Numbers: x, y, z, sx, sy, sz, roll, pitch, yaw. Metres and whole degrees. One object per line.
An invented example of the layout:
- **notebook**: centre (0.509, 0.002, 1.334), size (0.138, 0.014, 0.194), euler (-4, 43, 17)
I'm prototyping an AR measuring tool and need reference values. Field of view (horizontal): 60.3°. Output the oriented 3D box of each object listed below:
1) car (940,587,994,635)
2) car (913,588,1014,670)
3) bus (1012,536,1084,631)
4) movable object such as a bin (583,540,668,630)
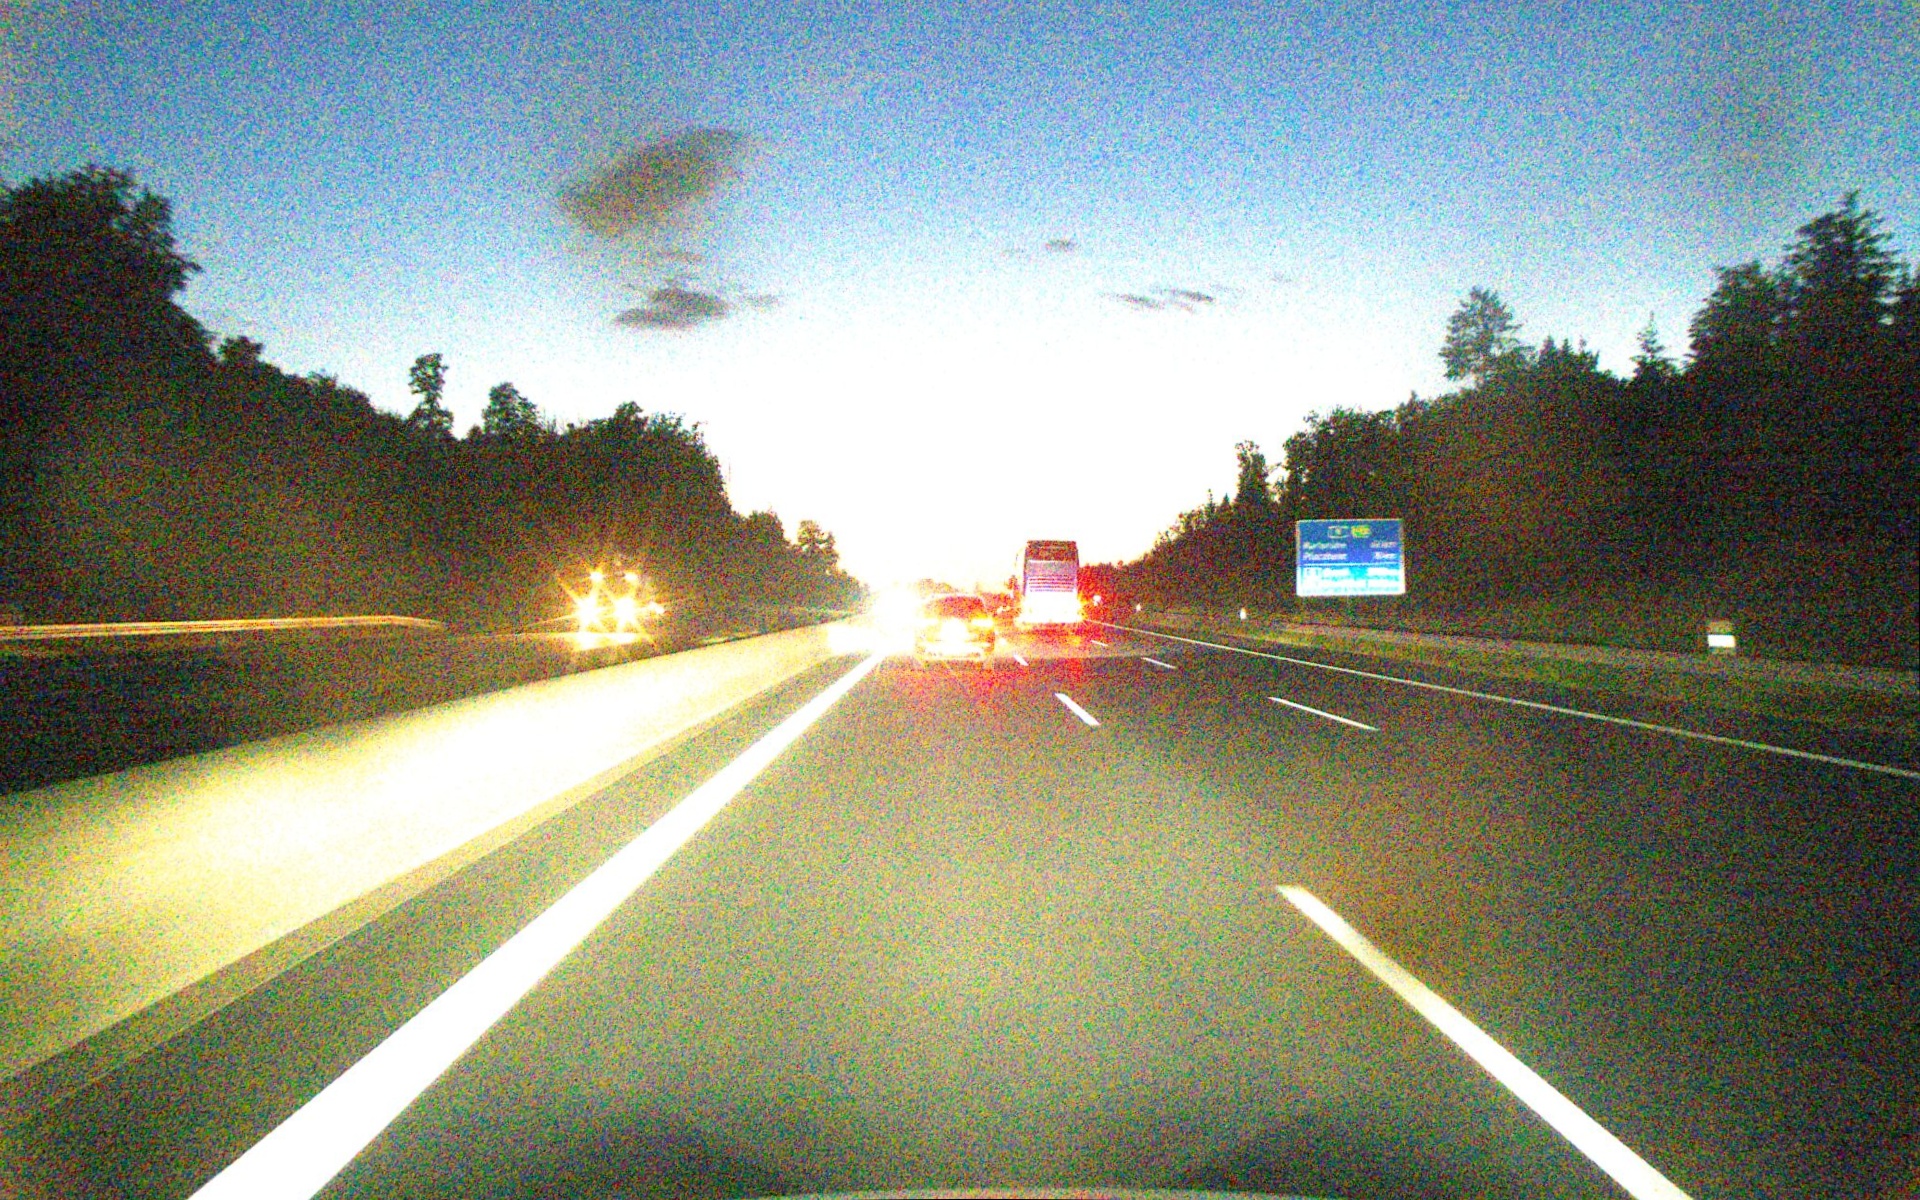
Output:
- **car**: centre (0.260, 0.459, 65.800), size (1.873, 1.760, 3.998), euler (4, -1, -2)
- **car**: centre (0.016, 0.633, 36.382), size (2.063, 1.646, 4.202), euler (-1, -1, -2)
- **bus**: centre (4.060, -0.582, 79.361), size (2.598, 4.064, 14.700), euler (-2, -1, 0)
- **movable object such as a bin**: centre (-15.002, -0.656, 74.599), size (2.246, 3.835, 7.685), euler (0, 0, 0)
